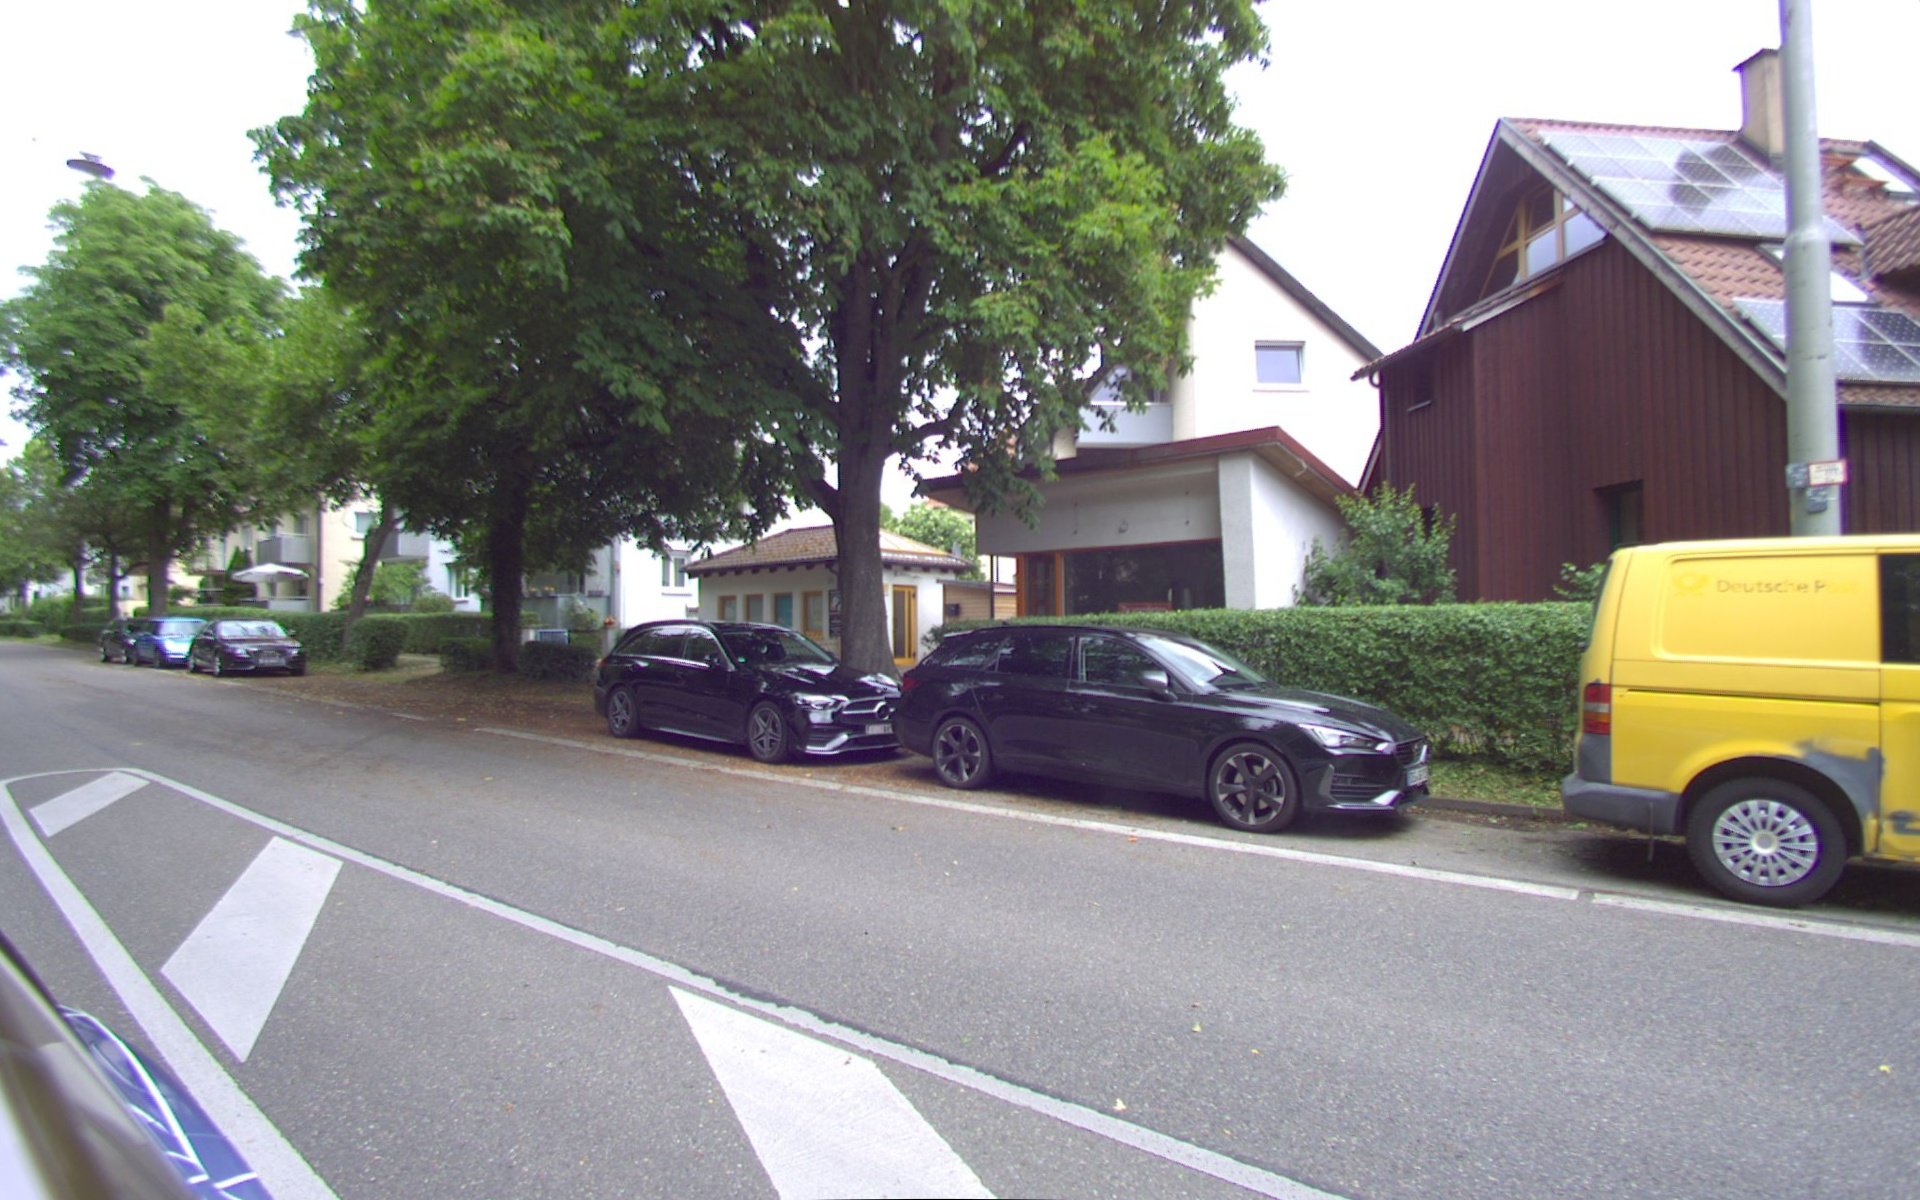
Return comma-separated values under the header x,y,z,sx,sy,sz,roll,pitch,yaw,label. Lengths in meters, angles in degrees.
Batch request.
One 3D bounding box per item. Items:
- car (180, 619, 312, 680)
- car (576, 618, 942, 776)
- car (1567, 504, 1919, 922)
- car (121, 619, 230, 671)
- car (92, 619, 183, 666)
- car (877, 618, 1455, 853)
x,y,z,sx,sy,sz,roll,pitch,yaw,label
-17.944,1.218,25.341,4.594,1.387,1.827,-2,-3,44,car
-2.475,0.963,11.681,4.592,1.461,1.726,-1,-2,42,car
5.924,0.554,5.085,4.790,2.005,1.899,-1,-2,36,car
-22.493,1.278,28.970,4.149,1.387,1.616,-2,-3,40,car
-25.784,1.309,31.699,3.769,1.387,1.521,-2,-3,40,car
1.505,0.907,8.519,4.510,1.461,1.727,-1,-2,41,car
